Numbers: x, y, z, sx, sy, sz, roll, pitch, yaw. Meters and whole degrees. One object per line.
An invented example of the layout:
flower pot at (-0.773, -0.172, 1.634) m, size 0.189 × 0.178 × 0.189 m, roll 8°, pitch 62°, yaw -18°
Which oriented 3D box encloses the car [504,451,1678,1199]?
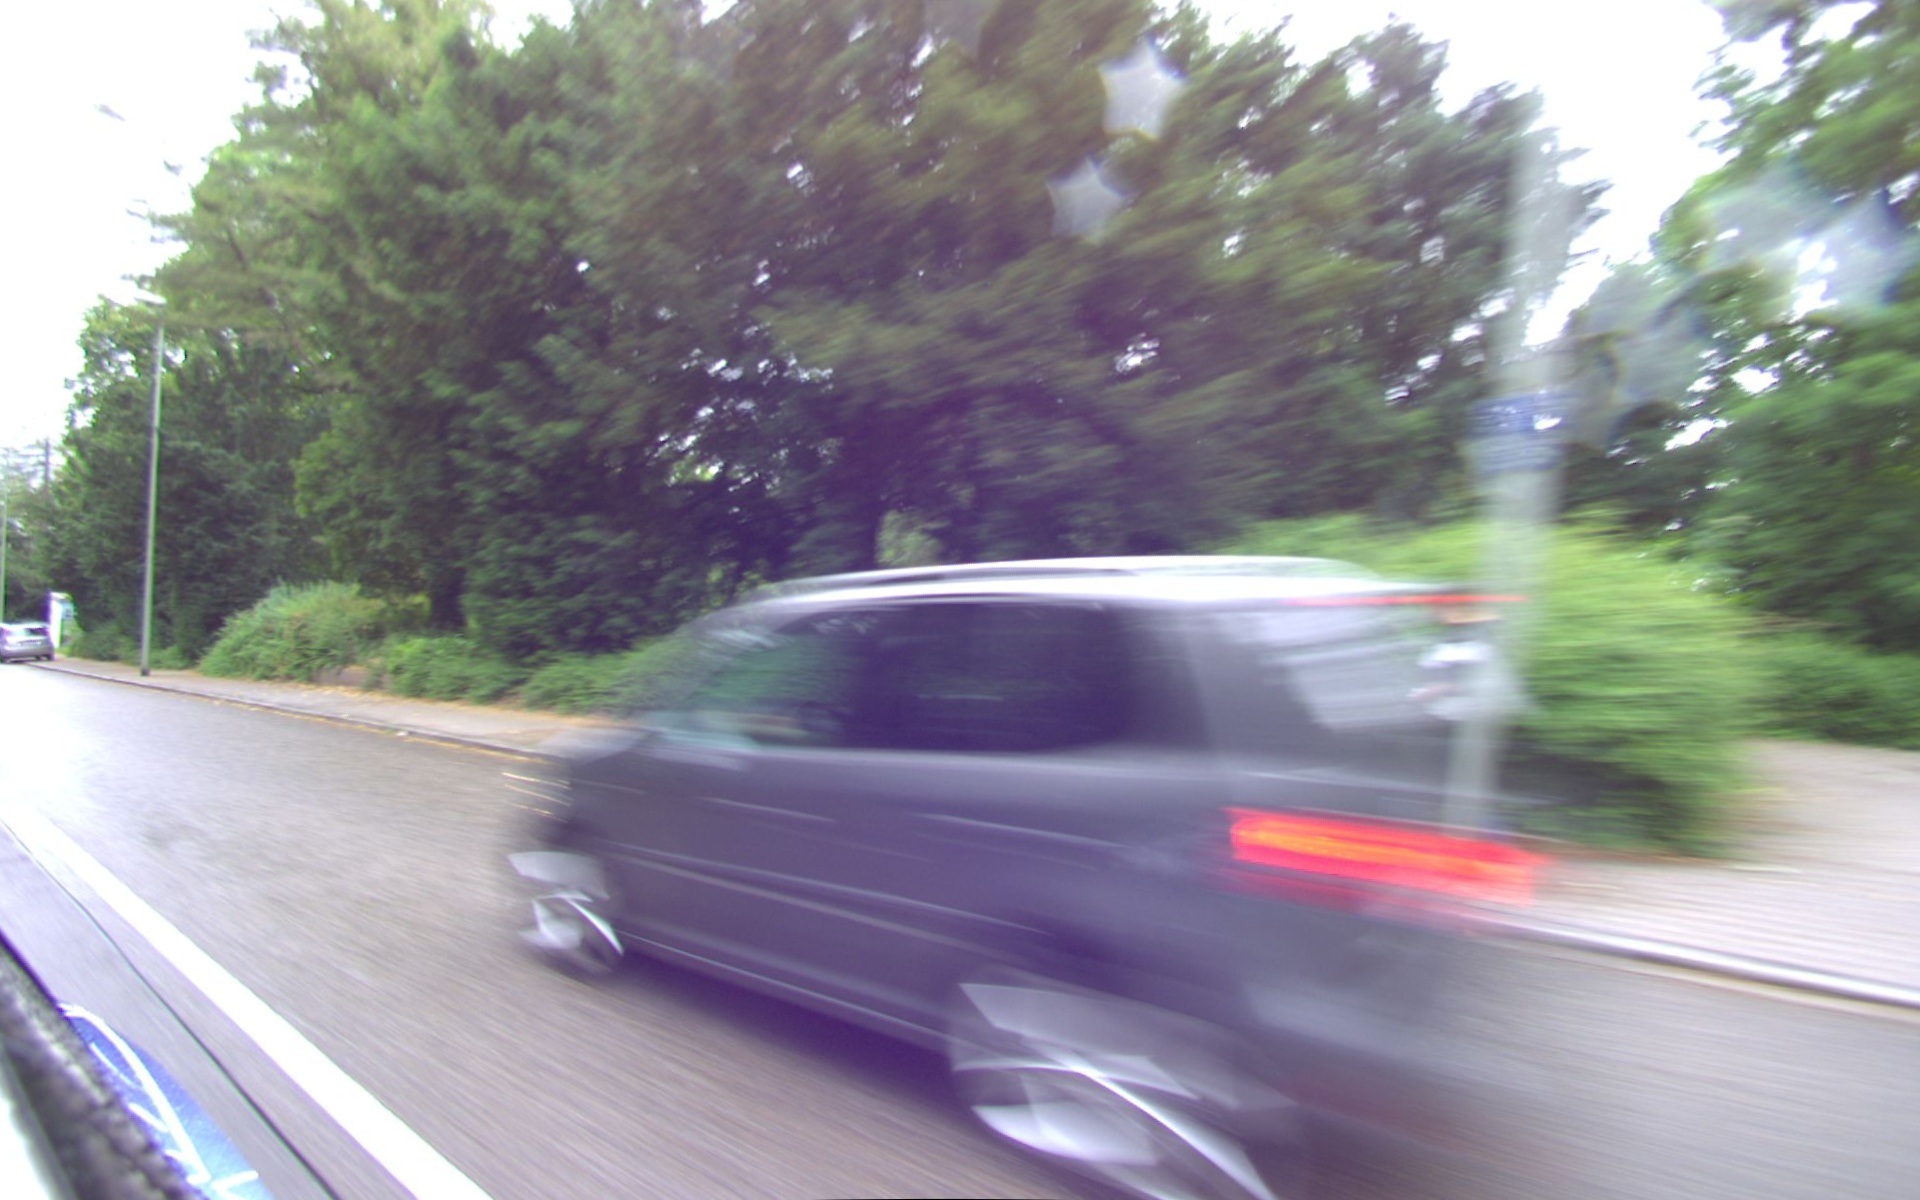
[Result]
car at (0.153, 0.641, 3.779) m, size 3.996 × 1.724 × 1.812 m, roll -1°, pitch -2°, yaw 40°

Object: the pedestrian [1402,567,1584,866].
pedestrian at (3.129, 0.656, 6.010) m, size 0.704 × 1.657 × 0.707 m, roll 0°, pitch -2°, yaw 5°

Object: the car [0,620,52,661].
car at (-37.574, 1.588, 40.233) m, size 3.923 × 1.510 × 1.610 m, roll -1°, pitch -1°, yaw 39°

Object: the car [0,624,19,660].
car at (-46.239, 1.940, 48.010) m, size 4.237 × 1.624 × 1.866 m, roll -1°, pitch -5°, yaw 42°
